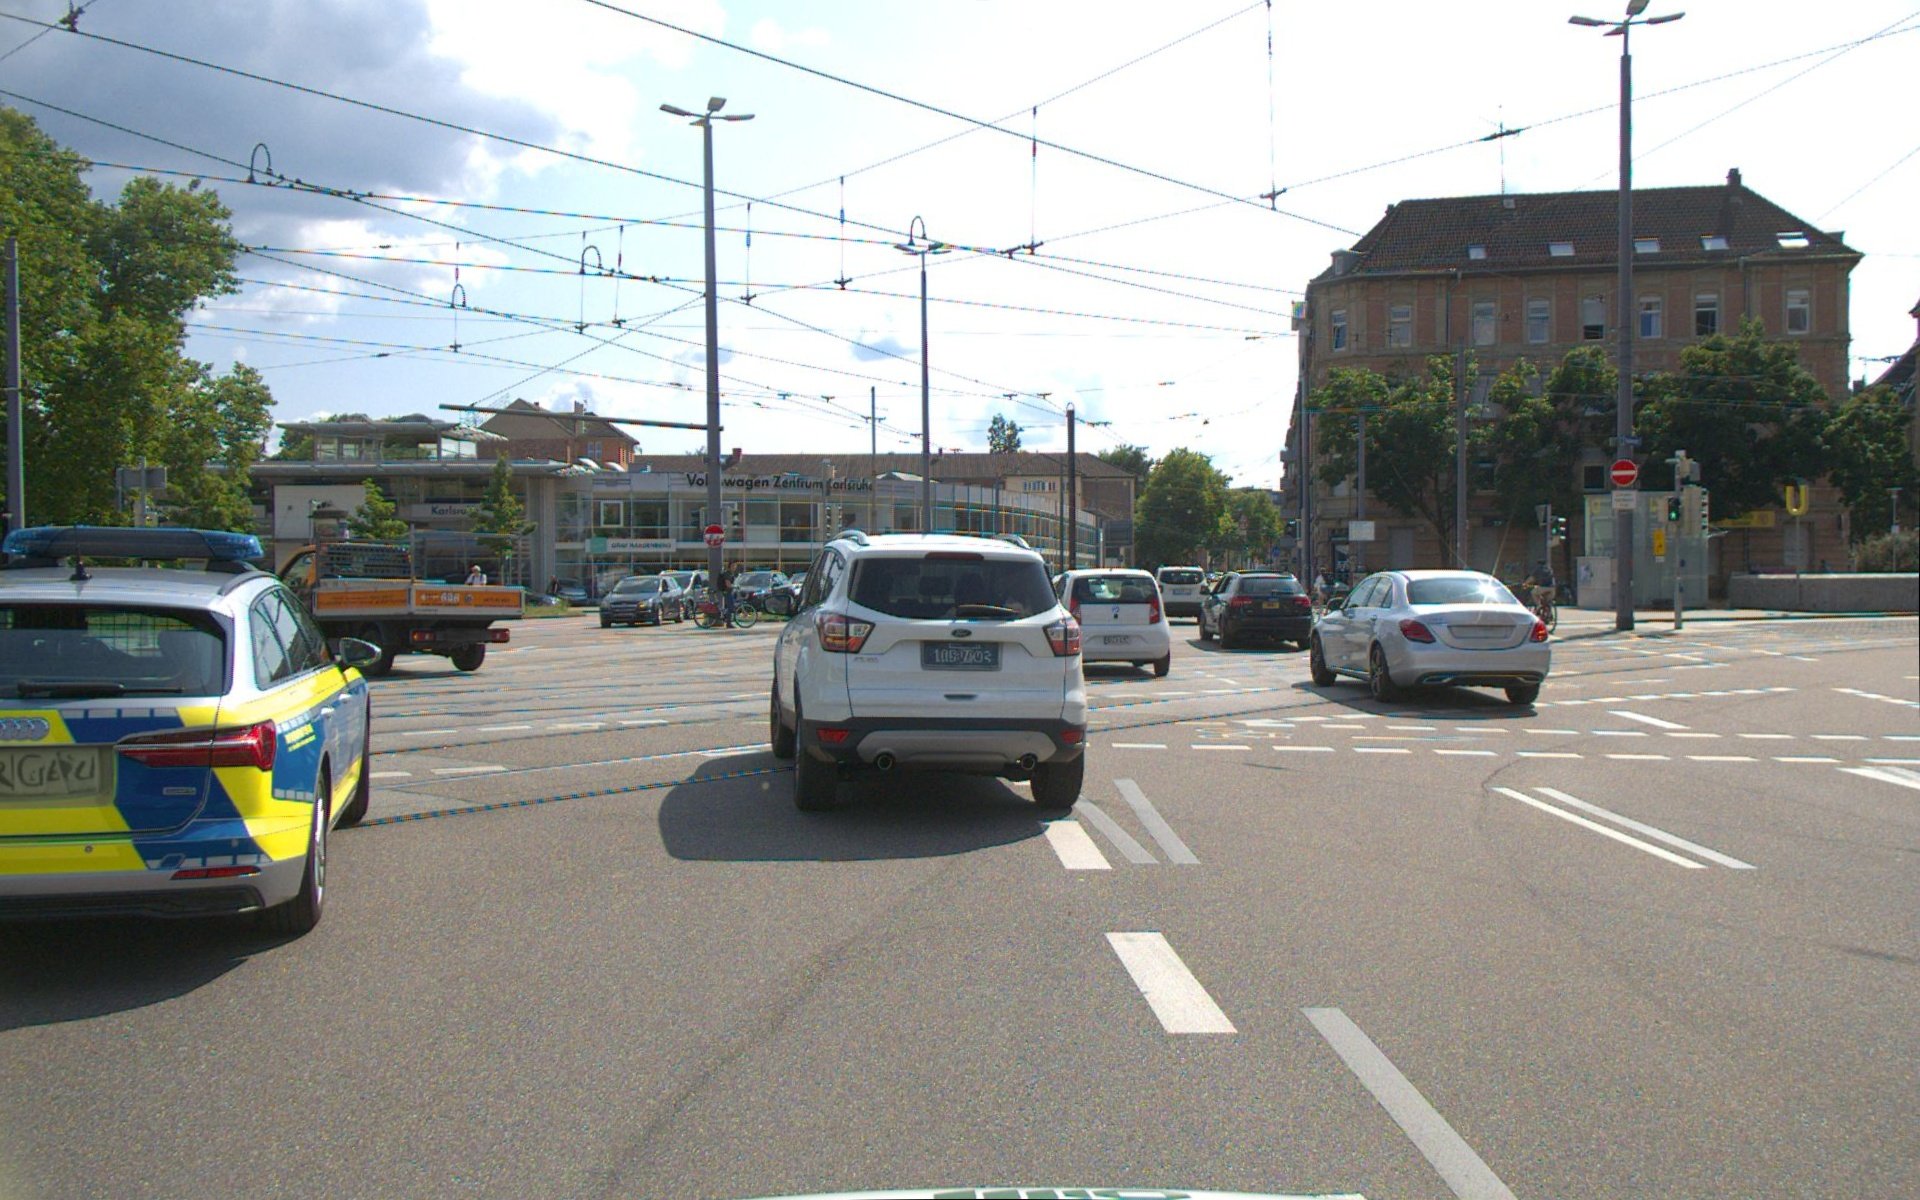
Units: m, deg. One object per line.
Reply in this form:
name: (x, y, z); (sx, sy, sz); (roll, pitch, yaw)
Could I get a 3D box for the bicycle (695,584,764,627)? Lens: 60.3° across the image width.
bicycle: (-6.140, 0.141, 44.112); (1.742, 1.145, 0.639); (0, 1, -1)

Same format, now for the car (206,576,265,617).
car: (-38.496, -0.162, 87.968); (1.959, 2.049, 4.218); (-2, 0, -12)

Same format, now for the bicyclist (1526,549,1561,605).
bicyclist: (13.284, -0.523, 37.648); (0.621, 1.241, 0.925); (-1, 1, 12)

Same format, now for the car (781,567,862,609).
car: (-5.217, -0.471, 62.694); (1.859, 1.487, 3.972); (-1, 1, 14)

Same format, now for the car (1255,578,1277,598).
car: (26.438, -1.037, 143.020); (1.797, 1.681, 4.003); (0, 0, 12)

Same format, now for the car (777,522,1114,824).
car: (-0.286, 0.389, 11.377); (1.793, 1.693, 3.948); (0, 1, -9)

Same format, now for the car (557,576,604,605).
car: (-21.657, -0.555, 94.551); (1.781, 1.560, 3.916); (-2, 0, 0)

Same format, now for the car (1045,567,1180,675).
car: (2.188, 0.249, 24.611); (1.615, 1.446, 4.000); (-1, 1, 0)

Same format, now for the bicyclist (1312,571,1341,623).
bicyclist: (10.655, -0.090, 48.132); (0.596, 1.476, 0.773); (-1, 0, -7)

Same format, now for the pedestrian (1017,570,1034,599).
pedestrian: (4.536, -1.070, 114.573); (0.858, 1.956, 0.876); (1, 0, 25)

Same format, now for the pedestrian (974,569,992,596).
pedestrian: (1.525, -1.153, 108.524); (0.858, 1.767, 0.875); (1, 0, 27)

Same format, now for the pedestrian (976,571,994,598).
pedestrian: (1.670, -1.039, 109.874); (0.858, 1.767, 0.875); (1, 0, 27)

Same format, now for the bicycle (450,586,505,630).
bicycle: (-14.055, 0.224, 48.209); (0.743, 1.213, 2.152); (-1, 1, 6)

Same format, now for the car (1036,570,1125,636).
car: (2.707, 0.052, 37.891); (1.812, 1.443, 3.679); (0, 0, 1)

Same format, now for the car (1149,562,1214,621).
car: (6.560, -0.250, 49.189); (1.797, 1.681, 4.003); (0, 0, 6)

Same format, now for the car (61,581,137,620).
car: (-45.758, 0.042, 88.005); (1.931, 1.971, 5.058); (-2, 0, -8)

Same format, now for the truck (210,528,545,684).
truck: (-9.278, 0.076, 26.079); (5.740, 2.193, 2.335); (0, 1, 39)

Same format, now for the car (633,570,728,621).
car: (-9.472, -0.176, 56.330); (1.700, 1.600, 4.004); (-1, 1, 14)

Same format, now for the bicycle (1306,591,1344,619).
bicycle: (10.622, 0.137, 48.153); (0.573, 0.789, 1.619); (-1, 1, -6)

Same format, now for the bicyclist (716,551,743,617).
bicyclist: (-6.148, -0.429, 44.135); (0.646, 1.768, 0.640); (0, 1, -1)

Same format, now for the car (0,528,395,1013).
car: (-3.721, 0.534, 7.668); (1.850, 1.595, 4.595); (0, 1, -16)

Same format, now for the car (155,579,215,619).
car: (-41.111, -0.046, 87.837); (1.933, 1.971, 4.218); (-2, 0, -12)

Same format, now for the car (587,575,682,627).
car: (-9.461, -0.006, 48.286); (1.700, 1.397, 3.644); (-1, 1, 6)

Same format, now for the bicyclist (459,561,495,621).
bicyclist: (-14.065, -0.261, 48.180); (0.743, 1.712, 0.761); (-1, 1, 6)

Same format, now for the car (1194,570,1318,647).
car: (5.696, 0.128, 32.271); (1.664, 1.396, 4.133); (-1, 1, 0)

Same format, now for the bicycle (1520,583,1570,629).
bicycle: (13.244, 0.132, 37.494); (0.829, 0.987, 1.963); (-1, 1, 12)

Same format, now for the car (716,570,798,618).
car: (-6.820, -0.232, 55.984); (1.653, 1.487, 3.972); (-1, 1, 10)

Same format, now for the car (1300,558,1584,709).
car: (5.524, 0.289, 19.652); (1.891, 1.480, 4.759); (0, 3, -1)
